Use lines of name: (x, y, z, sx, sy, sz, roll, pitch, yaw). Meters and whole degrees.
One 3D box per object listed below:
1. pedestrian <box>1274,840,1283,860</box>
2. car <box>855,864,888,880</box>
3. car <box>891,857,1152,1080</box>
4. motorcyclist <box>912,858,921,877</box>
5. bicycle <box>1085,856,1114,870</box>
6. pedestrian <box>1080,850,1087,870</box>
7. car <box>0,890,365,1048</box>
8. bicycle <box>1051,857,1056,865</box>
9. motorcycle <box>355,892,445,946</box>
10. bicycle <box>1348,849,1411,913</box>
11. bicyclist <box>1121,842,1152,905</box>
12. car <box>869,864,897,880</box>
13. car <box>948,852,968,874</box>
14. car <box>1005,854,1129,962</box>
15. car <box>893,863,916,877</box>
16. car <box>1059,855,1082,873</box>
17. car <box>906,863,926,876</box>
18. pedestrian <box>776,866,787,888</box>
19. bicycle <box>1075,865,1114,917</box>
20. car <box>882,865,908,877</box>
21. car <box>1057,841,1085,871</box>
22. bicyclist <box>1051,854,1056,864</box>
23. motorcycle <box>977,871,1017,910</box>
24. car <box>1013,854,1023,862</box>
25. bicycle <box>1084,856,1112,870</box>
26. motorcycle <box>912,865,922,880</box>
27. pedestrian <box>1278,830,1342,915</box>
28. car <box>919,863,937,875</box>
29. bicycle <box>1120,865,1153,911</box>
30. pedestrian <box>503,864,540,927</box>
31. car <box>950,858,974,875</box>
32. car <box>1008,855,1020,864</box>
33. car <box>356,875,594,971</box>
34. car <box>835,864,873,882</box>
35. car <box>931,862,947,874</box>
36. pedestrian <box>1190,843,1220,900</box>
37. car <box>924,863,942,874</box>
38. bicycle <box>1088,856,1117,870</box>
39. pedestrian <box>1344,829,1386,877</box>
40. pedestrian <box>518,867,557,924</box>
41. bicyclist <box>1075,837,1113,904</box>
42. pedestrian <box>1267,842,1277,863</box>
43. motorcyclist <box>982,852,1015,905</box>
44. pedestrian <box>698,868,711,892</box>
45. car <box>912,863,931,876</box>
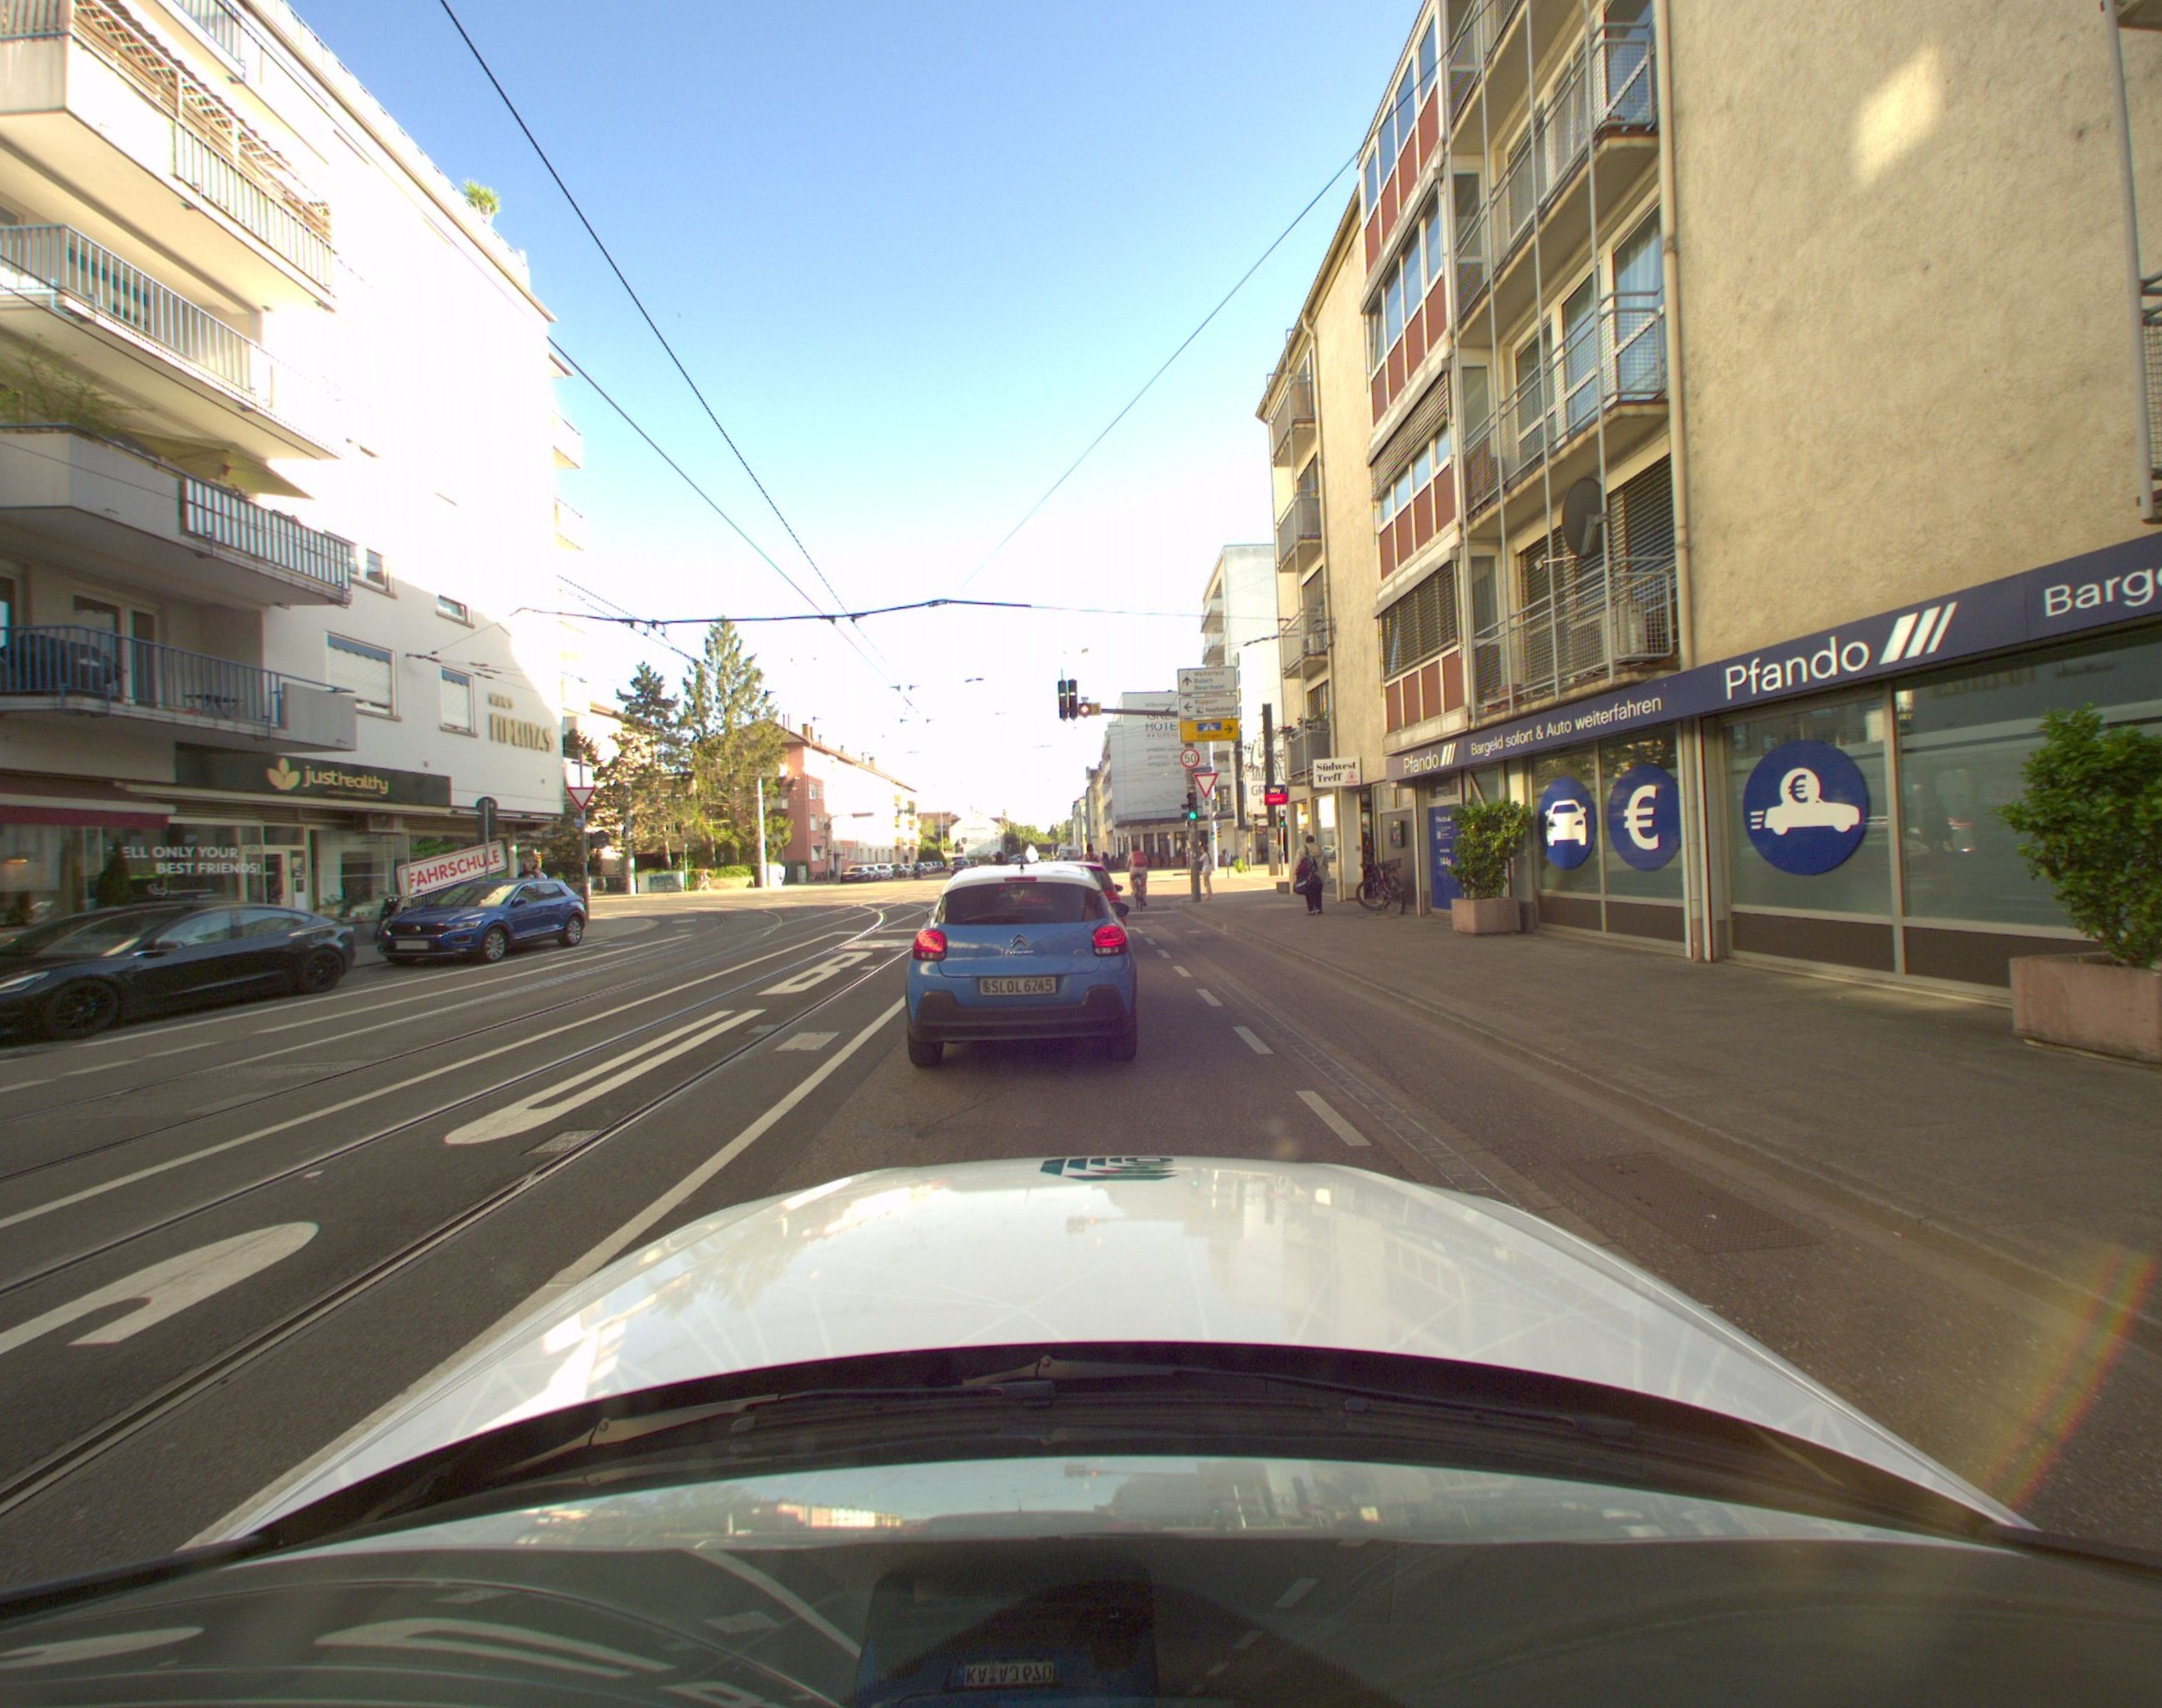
pedestrian: (15.983, -0.308, 65.851, 0.605, 1.608, 0.672, -1, -1, 19)
car: (-19.322, 1.665, 75.261, 1.897, 1.436, 4.102, 0, 0, 0)
car: (-0.502, 0.779, 7.354, 1.733, 1.452, 3.658, -1, 0, -4)
motorcyclist: (-13.634, 1.106, 67.616, 0.694, 1.497, 0.681, -2, -2, -12)
bicycle: (1.536, 0.742, 67.302, 2.246, 1.001, 0.855, -4, 0, -4)
pedestrian: (0.233, 0.517, 69.811, 0.611, 1.654, 0.671, 0, -1, 0)
car: (-12.003, 1.280, 10.424, 1.764, 1.475, 4.443, 0, 0, -1)
bicycle: (-5.403, 1.382, 159.224, 0.787, 1.670, 2.231, 0, -1, 3)
motorcycle: (-15.827, 1.481, 18.992, 0.605, 1.134, 1.795, 0, -1, -2)
bicycle: (5.742, 0.503, 15.749, 0.495, 1.161, 1.776, -2, -1, -1)
bicyclist: (1.522, 0.532, 22.315, 0.807, 1.692, 0.937, 0, -1, 6)
car: (-19.413, 1.751, 80.013, 1.737, 1.526, 4.227, 0, -1, -1)
car: (-18.055, 1.346, 119.728, 2.411, 3.142, 3.487, 0, -1, -1)
car: (-0.286, 0.774, 13.591, 1.780, 1.521, 3.758, 0, 0, -3)
car: (-20.061, 1.825, 92.727, 1.865, 1.576, 3.995, 0, -1, -3)
car: (-0.895, 0.819, 68.018, 1.654, 1.431, 3.882, 0, -1, -4)
car: (-20.006, 1.874, 98.790, 1.865, 1.576, 3.995, 0, -1, -3)
pedestrian: (-21.902, 1.673, 59.564, 0.521, 1.568, 0.566, 0, -1, -45)
bicycle: (0.333, 0.900, 20.676, 0.937, 1.223, 2.094, 0, -1, 1)
car: (-19.782, 1.768, 86.820, 1.942, 1.239, 4.279, 0, 0, -2)
car: (-0.968, 0.189, 73.023, 2.260, 2.482, 5.002, -1, 0, -3)
bicyclist: (-5.406, 0.994, 159.231, 0.787, 2.024, 0.987, 0, -1, 3)
motorcycle: (-2.359, 1.009, 23.098, 0.852, 1.047, 1.943, 0, -1, 2)
car: (-14.595, 0.987, 188.442, 2.068, 1.762, 5.034, 0, 0, -1)
bicycle: (1.415, 0.757, 68.420, 2.246, 1.001, 0.855, -4, 0, -4)
motorcycle: (-13.594, 1.548, 67.463, 0.712, 1.220, 1.957, -2, -2, -12)
pedestrian: (4.552, 0.358, 16.236, 0.883, 1.592, 0.809, -5, 1, -7)
car: (-20.396, 1.955, 108.504, 1.865, 1.576, 3.995, 0, -1, -3)
bicycle: (1.536, 0.903, 22.360, 0.807, 1.181, 2.068, 0, -1, 6)
pedestrian: (-17.301, 1.285, 25.213, 0.568, 1.900, 0.742, -2, -3, 16)
car: (-11.187, 1.191, 76.882, 1.775, 1.486, 3.824, -3, 0, -3)
car: (-14.024, 1.212, 171.332, 2.212, 1.932, 4.946, 0, -1, -1)
car: (-11.786, 1.243, 16.261, 1.765, 1.503, 4.233, 0, 1, -4)
car: (-19.372, 1.628, 69.679, 2.149, 1.432, 4.435, 0, -2, -3)
car: (-20.821, 2.047, 119.626, 1.865, 1.576, 3.995, 0, -1, -3)
pedestrian: (3.672, 0.523, 24.169, 0.534, 1.623, 0.737, -7, -3, 23)
car: (-20.578, 1.995, 113.390, 1.865, 1.576, 3.995, 0, -1, -3)
bicycle: (1.765, 0.739, 65.928, 2.246, 1.001, 0.855, -4, 0, -4)
pedestrian: (6.703, -0.016, 19.230, 0.627, 1.087, 0.672, -3, 1, -35)
pedestrian: (-17.936, 1.360, 26.886, 0.732, 1.792, 0.663, -2, 0, 5)
bicyclist: (0.339, 0.429, 20.967, 0.937, 1.673, 1.079, 0, -1, 0)
pedestrian: (14.850, -0.093, 63.310, 0.604, 1.608, 0.673, -1, -1, 29)
motorcyclist: (-2.359, 0.685, 23.334, 0.852, 1.488, 0.729, 0, -1, 1)
pedestrian: (-26.486, 1.823, 57.327, 0.785, 1.722, 0.699, 0, -1, -22)
car: (-20.211, 1.913, 103.472, 1.865, 1.576, 3.995, 0, -1, -3)
